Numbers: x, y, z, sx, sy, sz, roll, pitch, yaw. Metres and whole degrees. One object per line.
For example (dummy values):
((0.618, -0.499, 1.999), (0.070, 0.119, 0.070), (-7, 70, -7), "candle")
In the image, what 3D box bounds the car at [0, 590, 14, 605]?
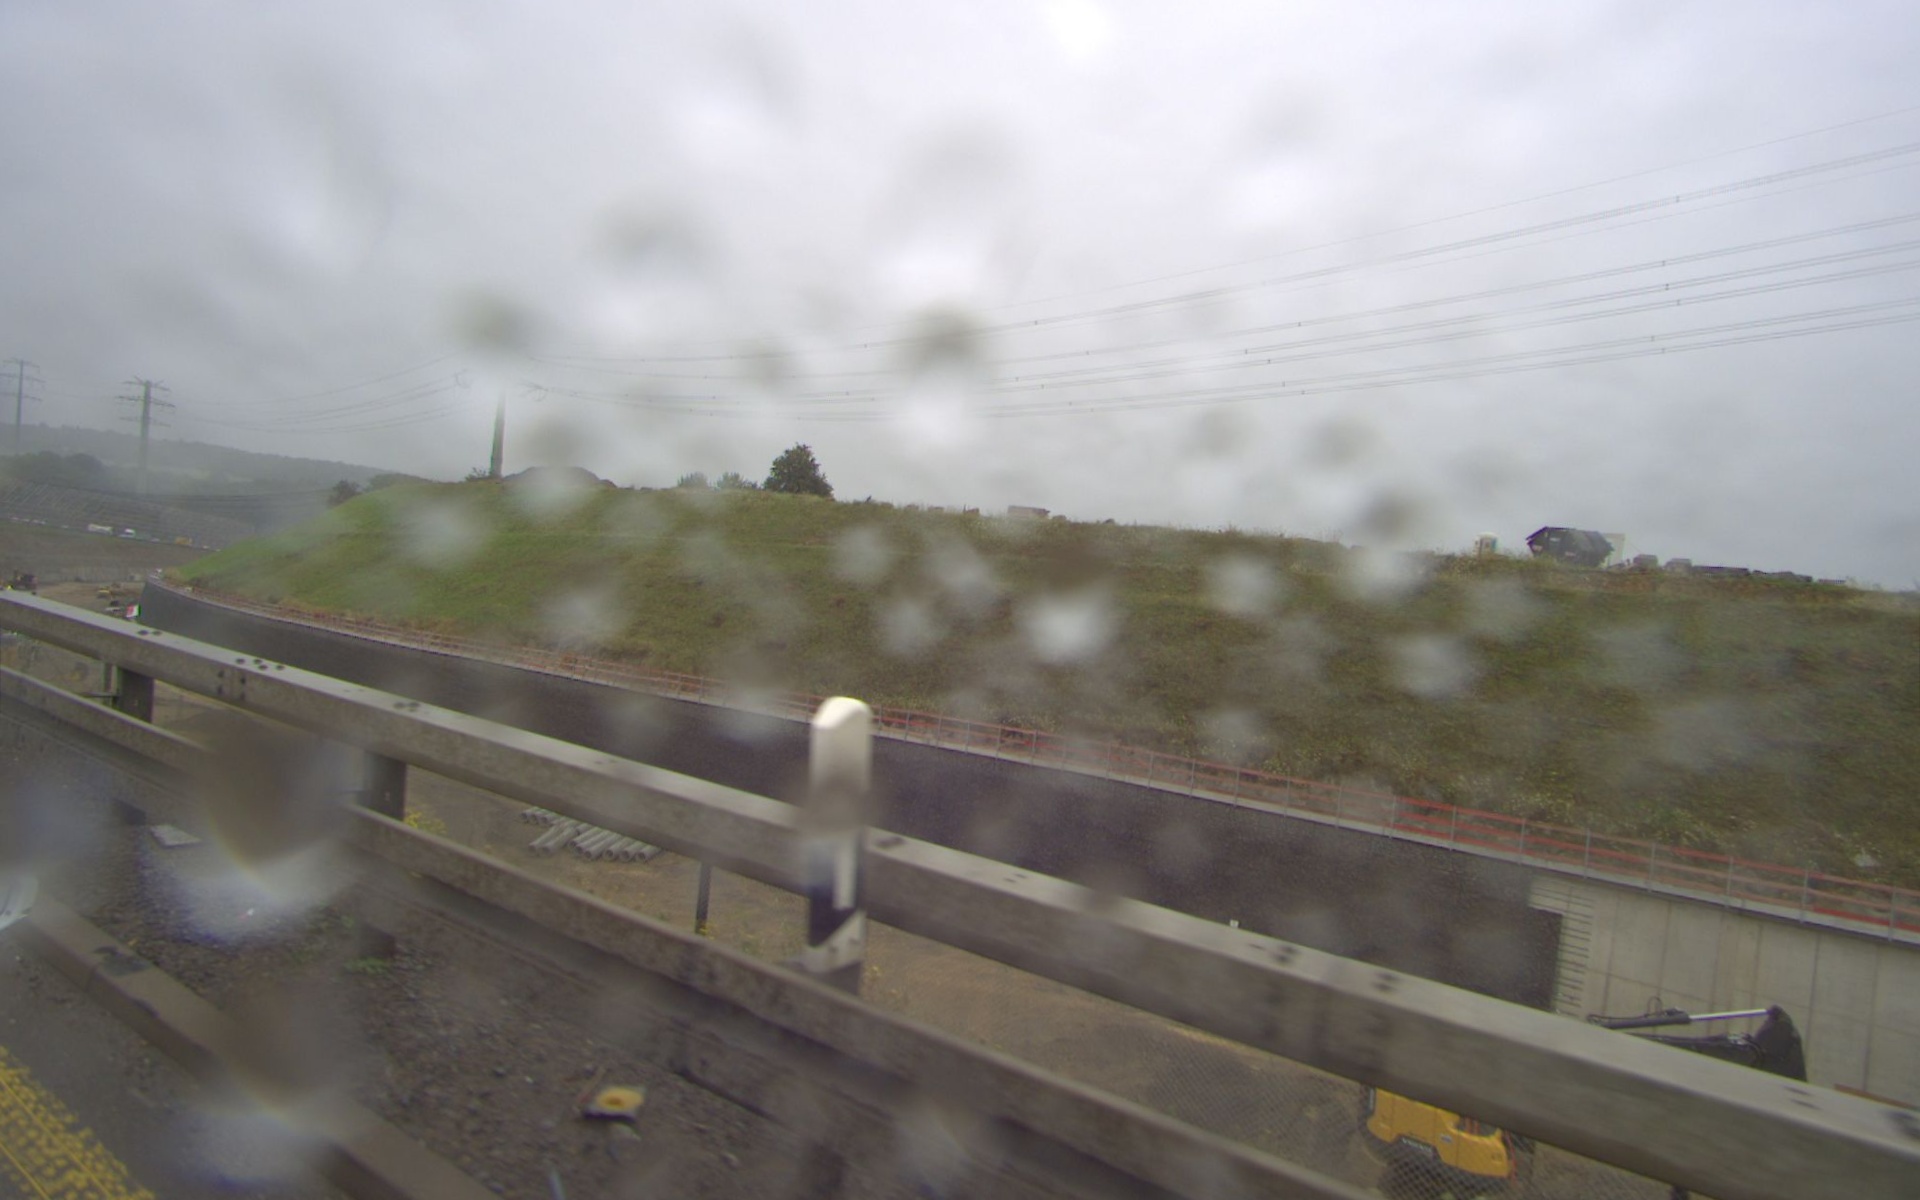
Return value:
((-138.863, -0.366, 145.878), (3.944, 1.837, 1.992), (6, -2, 41), "car")

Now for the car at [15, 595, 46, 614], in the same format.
((-125.419, 0.588, 135.768), (3.941, 2.037, 2.366), (6, -2, 38), "car")

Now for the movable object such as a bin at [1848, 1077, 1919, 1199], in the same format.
((23.684, 13.192, 23.895), (3.200, 1.932, 2.525), (6, -3, 26), "movable object such as a bin")

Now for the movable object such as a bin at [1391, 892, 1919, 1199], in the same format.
((15.259, 10.034, 19.368), (11.896, 5.731, 4.905), (3, -4, 32), "movable object such as a bin")
